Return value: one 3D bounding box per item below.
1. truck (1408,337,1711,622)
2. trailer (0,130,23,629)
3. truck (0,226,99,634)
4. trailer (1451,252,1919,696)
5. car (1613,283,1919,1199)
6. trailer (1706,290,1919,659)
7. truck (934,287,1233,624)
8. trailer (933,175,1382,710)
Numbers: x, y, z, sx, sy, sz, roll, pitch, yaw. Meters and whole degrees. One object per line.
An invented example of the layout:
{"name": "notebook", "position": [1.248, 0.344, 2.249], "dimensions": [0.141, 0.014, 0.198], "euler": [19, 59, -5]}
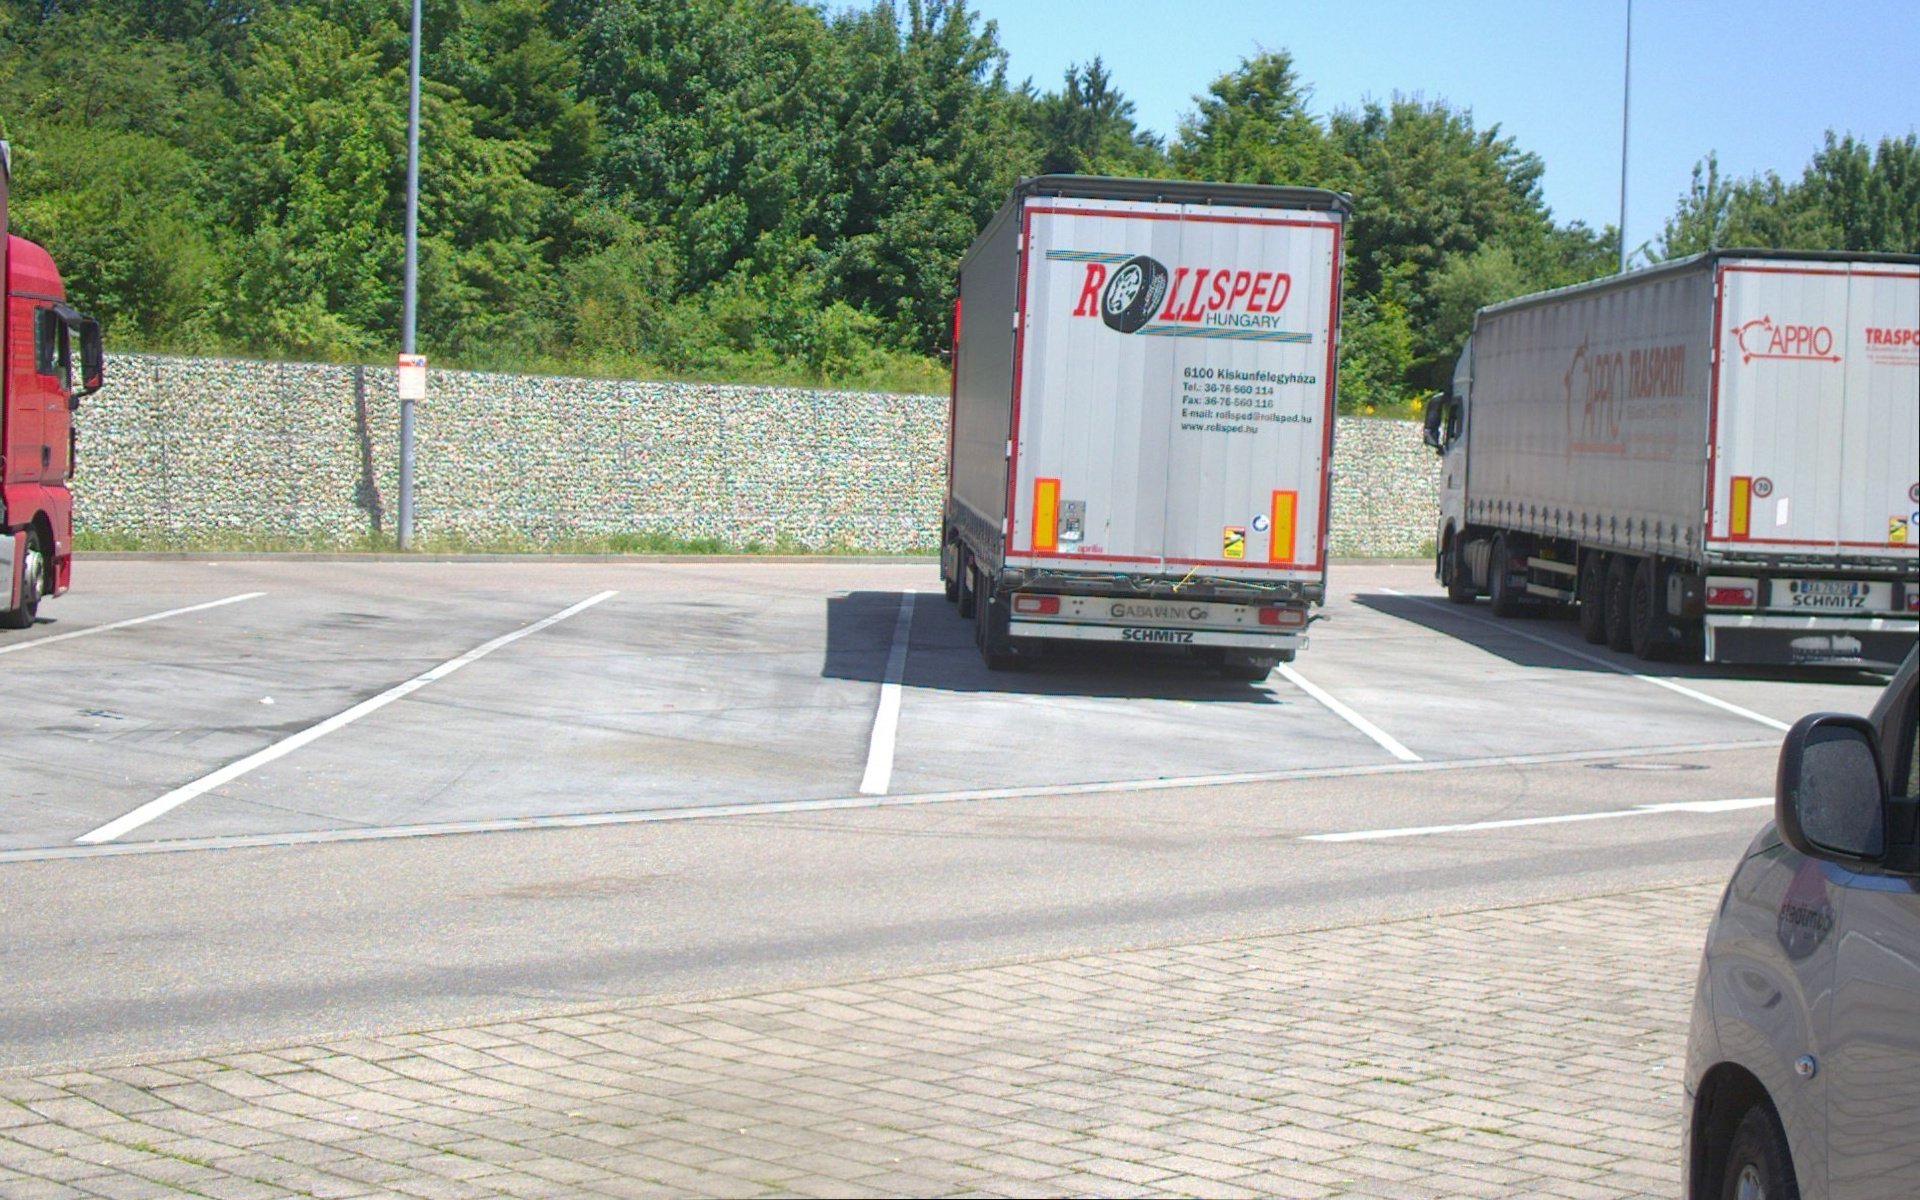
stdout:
{"name": "truck", "position": [8.030, -1.694, 46.803], "dimensions": [2.862, 3.509, 5.900], "euler": [2, 3, -1]}
{"name": "trailer", "position": [-9.188, -1.485, 21.542], "dimensions": [2.791, 4.071, 14.133], "euler": [2, 3, -1]}
{"name": "truck", "position": [-9.231, -1.440, 28.116], "dimensions": [2.851, 3.316, 5.900], "euler": [2, 3, -1]}
{"name": "trailer", "position": [8.122, -1.519, 38.703], "dimensions": [2.811, 3.976, 14.396], "euler": [2, 3, -1]}
{"name": "car", "position": [2.154, 0.585, 3.822], "dimensions": [1.869, 1.857, 4.177], "euler": [2, 2, -2]}
{"name": "trailer", "position": [11.763, -1.451, 39.754], "dimensions": [2.811, 3.976, 14.396], "euler": [2, 3, -1]}
{"name": "truck", "position": [1.319, -1.730, 40.483], "dimensions": [3.103, 3.554, 5.900], "euler": [2, 3, -1]}
{"name": "trailer", "position": [1.455, -1.589, 33.591], "dimensions": [3.133, 3.976, 14.397], "euler": [2, 3, -1]}
